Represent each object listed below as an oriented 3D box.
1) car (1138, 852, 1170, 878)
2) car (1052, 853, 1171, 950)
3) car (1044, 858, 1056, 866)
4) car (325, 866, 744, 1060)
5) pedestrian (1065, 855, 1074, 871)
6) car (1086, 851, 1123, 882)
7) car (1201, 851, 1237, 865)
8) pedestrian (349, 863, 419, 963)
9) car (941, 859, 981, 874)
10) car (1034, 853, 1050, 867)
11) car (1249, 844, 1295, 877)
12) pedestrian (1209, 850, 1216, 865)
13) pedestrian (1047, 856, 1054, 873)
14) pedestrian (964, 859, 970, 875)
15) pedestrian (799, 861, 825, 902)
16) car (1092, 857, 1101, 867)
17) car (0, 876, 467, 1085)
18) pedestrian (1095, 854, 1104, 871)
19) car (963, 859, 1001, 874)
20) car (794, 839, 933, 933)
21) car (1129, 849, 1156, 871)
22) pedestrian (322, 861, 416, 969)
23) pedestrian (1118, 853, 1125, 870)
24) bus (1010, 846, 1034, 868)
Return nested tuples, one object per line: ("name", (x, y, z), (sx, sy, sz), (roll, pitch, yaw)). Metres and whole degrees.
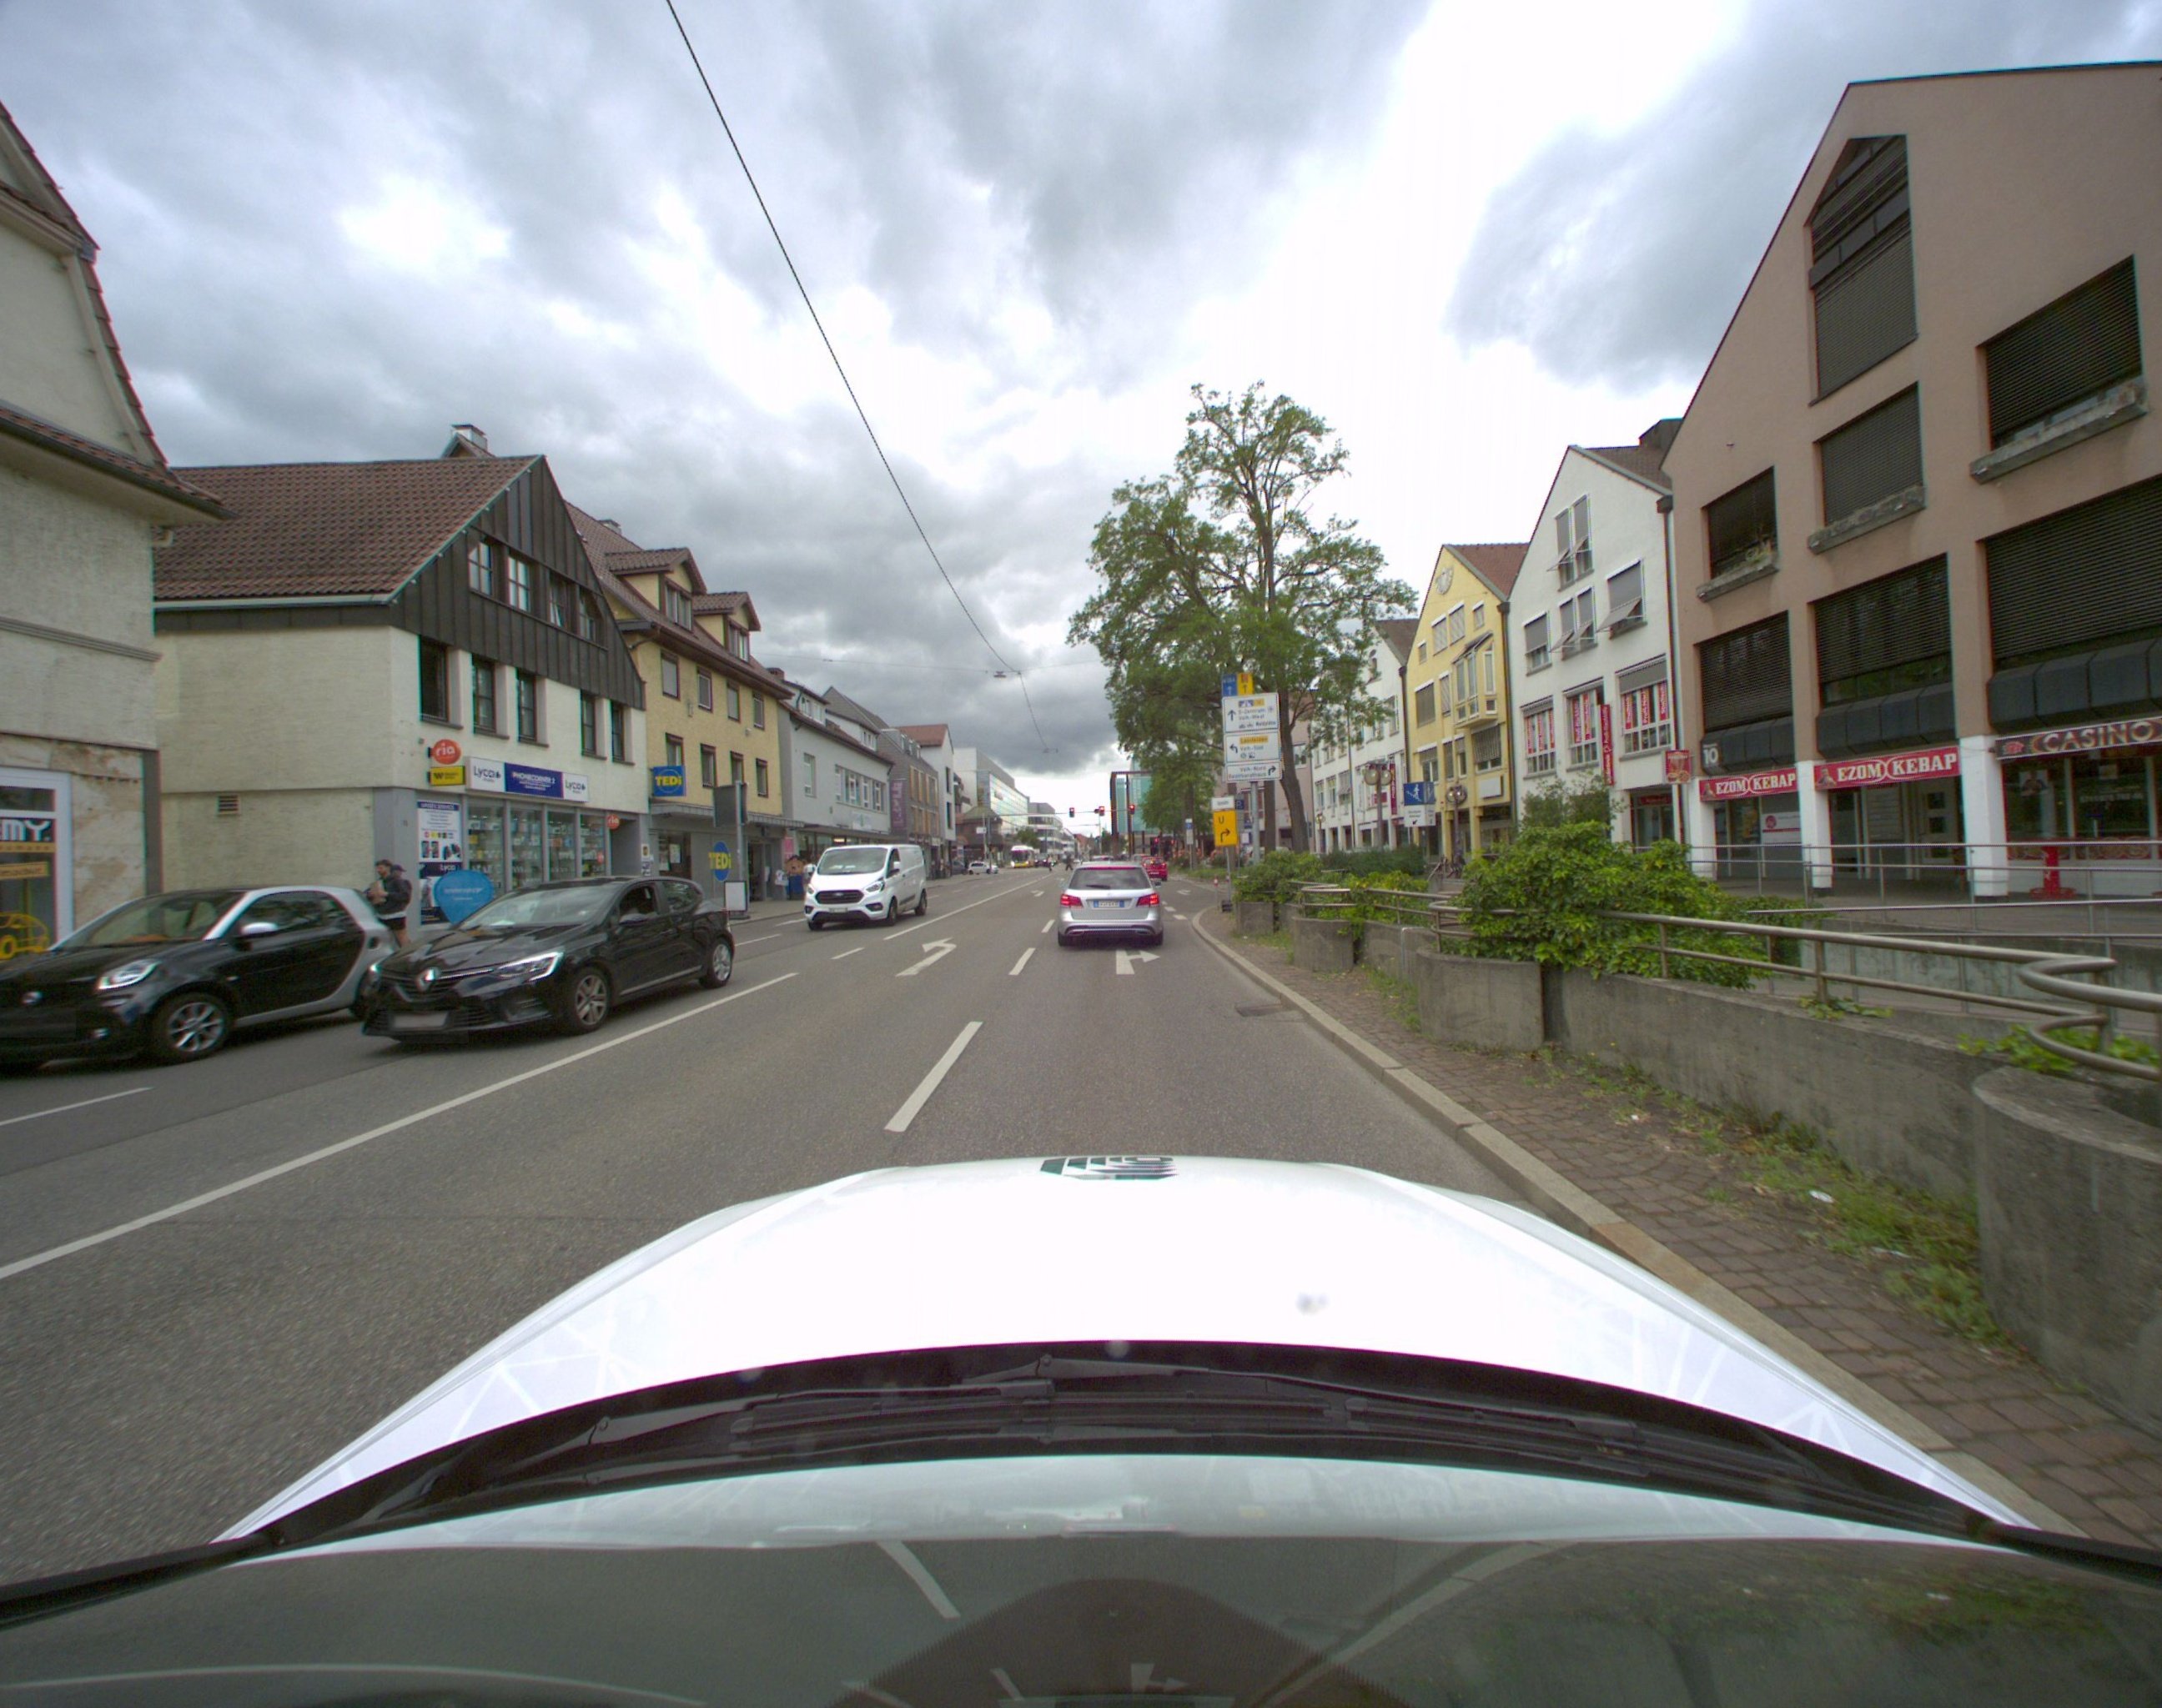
("car", (4.499, 0.667, 50.628), (1.748, 1.521, 4.001), (0, -1, 1))
("car", (0.482, 0.778, 15.170), (1.868, 1.506, 3.999), (-2, 0, -1))
("car", (-4.979, 1.258, 131.396), (1.569, 1.244, 3.608), (-2, 0, 2))
("car", (-5.221, 0.909, 8.529), (1.611, 1.428, 3.923), (-3, 0, 1))
("pedestrian", (-1.167, 0.886, 82.563), (0.854, 1.634, 0.588), (1, 0, 3))
("car", (1.387, 0.717, 47.772), (1.986, 1.684, 4.001), (-2, 0, 2))
("car", (16.564, 0.498, 97.635), (4.084, 1.541, 1.581), (-2, 0, 2))
("pedestrian", (-12.766, 1.042, 14.945), (0.809, 1.746, 0.861), (1, 0, -31))
("car", (-15.112, 1.558, 102.355), (4.910, 1.823, 1.992), (-2, 0, -11))
("car", (-5.698, 0.905, 120.372), (1.986, 2.013, 4.002), (-2, 0, 2))
("car", (11.441, 0.380, 48.986), (1.860, 1.864, 4.001), (-2, 0, 1))
("pedestrian", (14.794, 0.403, 91.602), (0.608, 1.634, 0.590), (1, 0, 14))
("pedestrian", (-3.046, 1.061, 80.629), (0.612, 1.634, 0.586), (1, 0, -8))
("pedestrian", (-11.907, 1.373, 85.048), (0.586, 1.670, 0.639), (1, 0, -12))
("pedestrian", (-11.171, 1.133, 33.823), (0.815, 1.634, 0.979), (0, 0, -4))
("car", (3.440, 1.735, 182.754), (1.986, 2.013, 4.001), (-2, 0, 1))
("car", (-8.439, 1.076, 8.269), (1.611, 1.523, 3.508), (-4, 0, 1))
("pedestrian", (1.886, 0.868, 82.306), (0.831, 1.634, 0.587), (1, 0, -3))
("car", (-11.302, 1.468, 92.800), (3.950, 1.530, 1.676), (-2, 0, 25))
("car", (-5.261, 0.716, 20.554), (1.955, 1.960, 5.140), (-4, 0, 1))
("car", (4.915, 0.484, 65.480), (1.986, 1.684, 4.001), (-2, 0, 2))
("pedestrian", (-12.014, 1.008, 13.769), (0.865, 1.746, 0.805), (1, 0, -4))
("pedestrian", (4.018, 0.736, 81.217), (0.611, 1.634, 0.587), (1, 0, -2))
("bus", (-8.757, 0.441, 121.564), (2.765, 3.165, 5.935), (-2, 0, 2))
